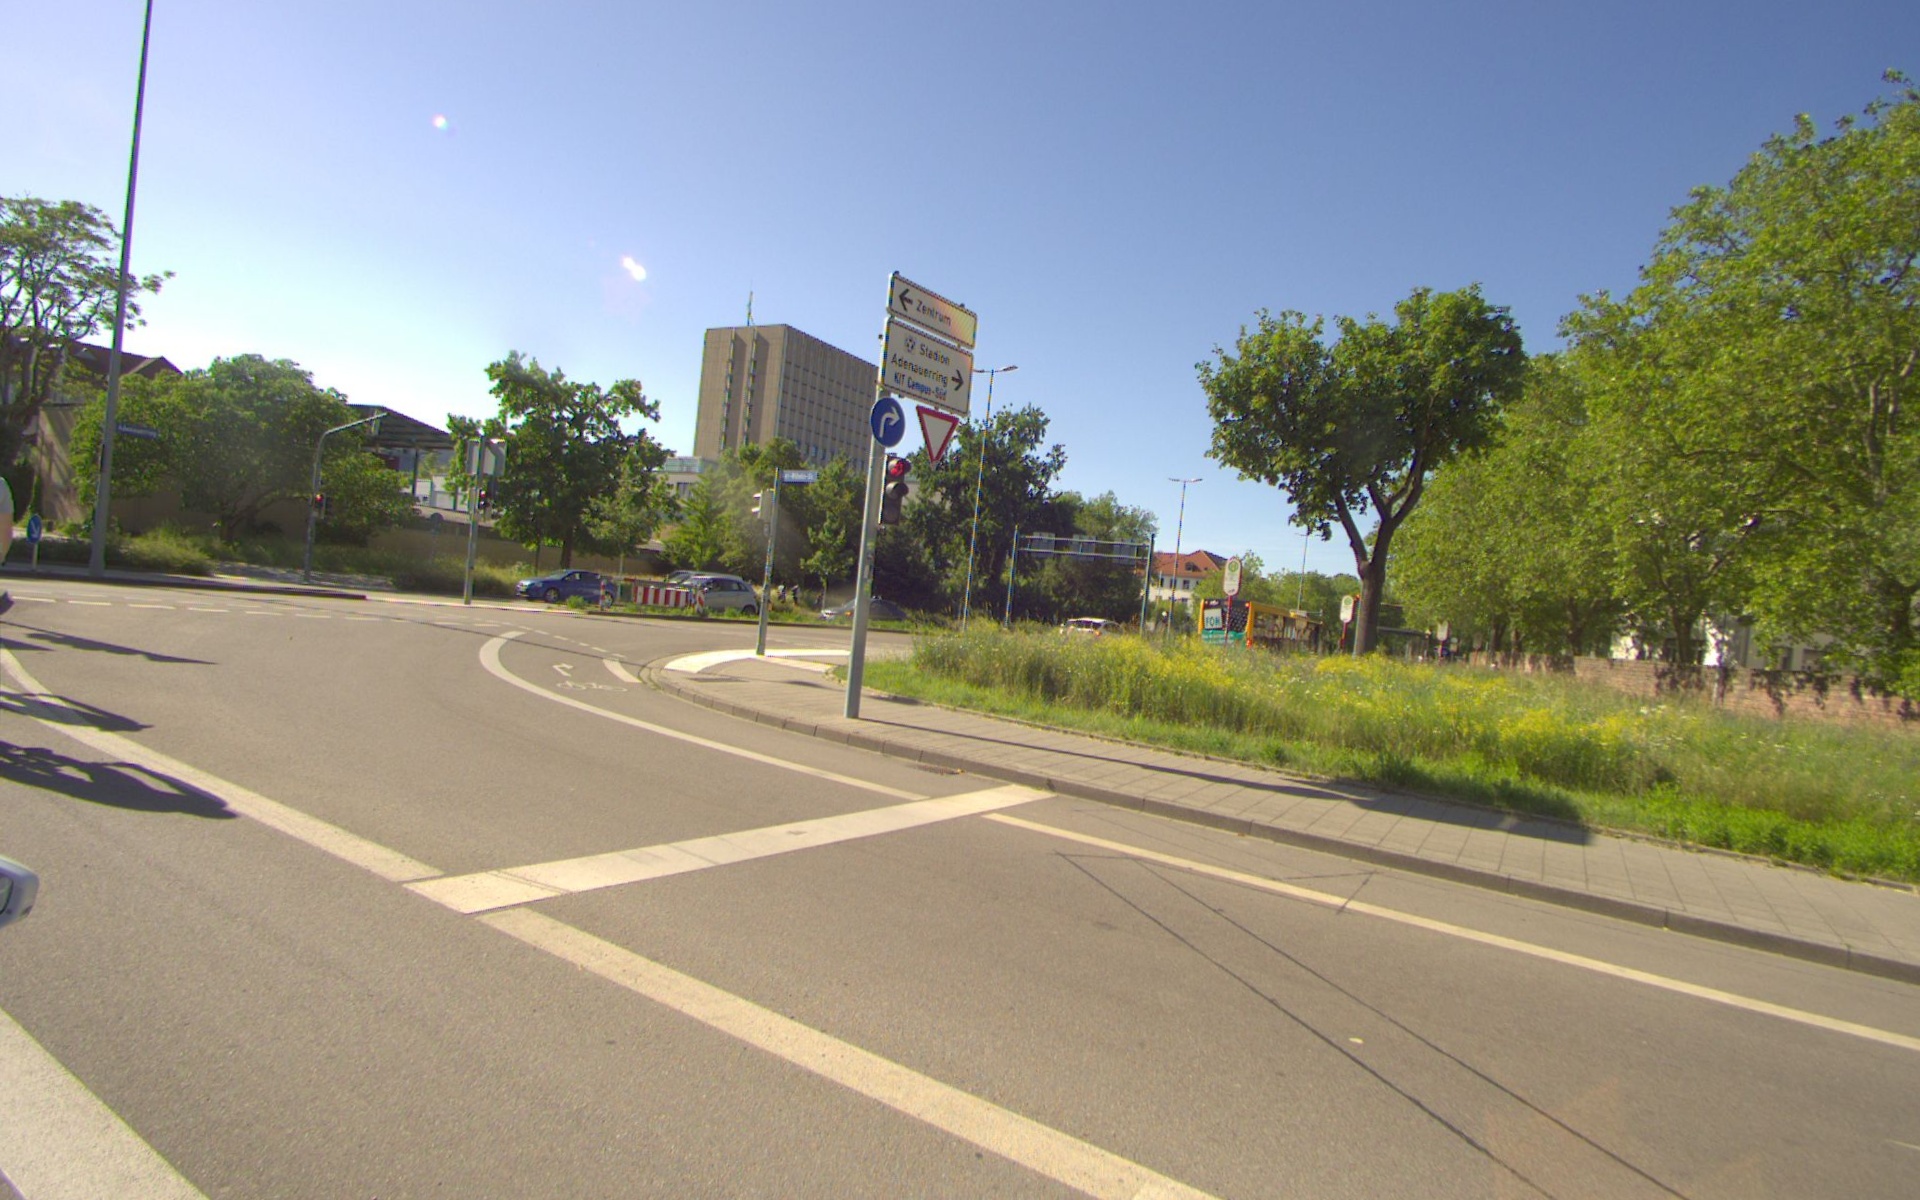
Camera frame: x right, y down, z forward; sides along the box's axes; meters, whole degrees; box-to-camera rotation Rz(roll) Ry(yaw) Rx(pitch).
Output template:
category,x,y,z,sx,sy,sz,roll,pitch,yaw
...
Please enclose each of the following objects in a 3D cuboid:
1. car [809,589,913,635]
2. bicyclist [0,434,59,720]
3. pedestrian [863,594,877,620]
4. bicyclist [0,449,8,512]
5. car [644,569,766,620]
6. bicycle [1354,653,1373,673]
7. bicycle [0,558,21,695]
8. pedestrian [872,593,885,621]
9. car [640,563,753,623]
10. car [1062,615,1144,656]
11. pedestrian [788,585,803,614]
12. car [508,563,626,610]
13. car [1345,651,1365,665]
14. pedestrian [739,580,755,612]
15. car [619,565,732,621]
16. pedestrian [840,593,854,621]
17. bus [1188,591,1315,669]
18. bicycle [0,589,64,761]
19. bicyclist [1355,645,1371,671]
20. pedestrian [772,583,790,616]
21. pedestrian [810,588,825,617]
category,x,y,z,sx,sy,sz,roll,pitch,yaw
car,-4.305,0.578,44.706,1.968,1.604,4.736,6,0,33
bicyclist,-6.220,-0.193,6.088,1.000,1.688,0.752,6,-1,33
pedestrian,-6.152,0.468,68.957,0.519,1.716,0.561,7,1,35
bicyclist,-8.135,-0.374,7.777,1.048,1.759,0.647,7,-1,26
car,-9.432,-0.172,37.427,1.840,1.426,4.046,6,0,38
bicycle,21.934,3.423,54.700,0.509,1.007,2.056,7,0,32
bicycle,-8.200,0.088,7.772,1.935,1.014,0.661,6,-1,26
pedestrian,-5.559,0.476,68.603,0.519,1.801,0.561,7,1,35
car,-12.308,-0.275,47.327,1.968,2.131,4.885,6,-2,34
car,6.625,1.650,46.235,1.815,1.639,4.688,3,-1,33
pedestrian,-10.339,-0.027,63.158,0.519,1.801,0.561,7,1,35
car,-16.089,-0.516,41.337,1.717,1.453,4.162,7,0,38
car,48.538,7.144,123.576,1.812,1.405,4.066,4,-2,27
pedestrian,-12.502,-0.235,58.955,0.519,1.801,0.561,7,1,35
car,-11.802,-0.277,41.897,1.972,1.837,3.982,7,0,40
pedestrian,-7.549,0.487,66.983,0.519,1.801,0.561,7,1,35
bus,14.257,1.575,48.456,2.752,2.662,10.095,6,-2,34
bicycle,-6.293,0.357,6.088,1.946,0.906,0.741,6,-2,33
bicyclist,21.812,3.153,54.484,0.509,1.368,1.002,7,1,32
pedestrian,-10.641,-0.018,59.907,0.702,1.872,0.561,7,1,35
pedestrian,-8.951,0.152,63.385,0.519,1.801,0.561,7,1,35
